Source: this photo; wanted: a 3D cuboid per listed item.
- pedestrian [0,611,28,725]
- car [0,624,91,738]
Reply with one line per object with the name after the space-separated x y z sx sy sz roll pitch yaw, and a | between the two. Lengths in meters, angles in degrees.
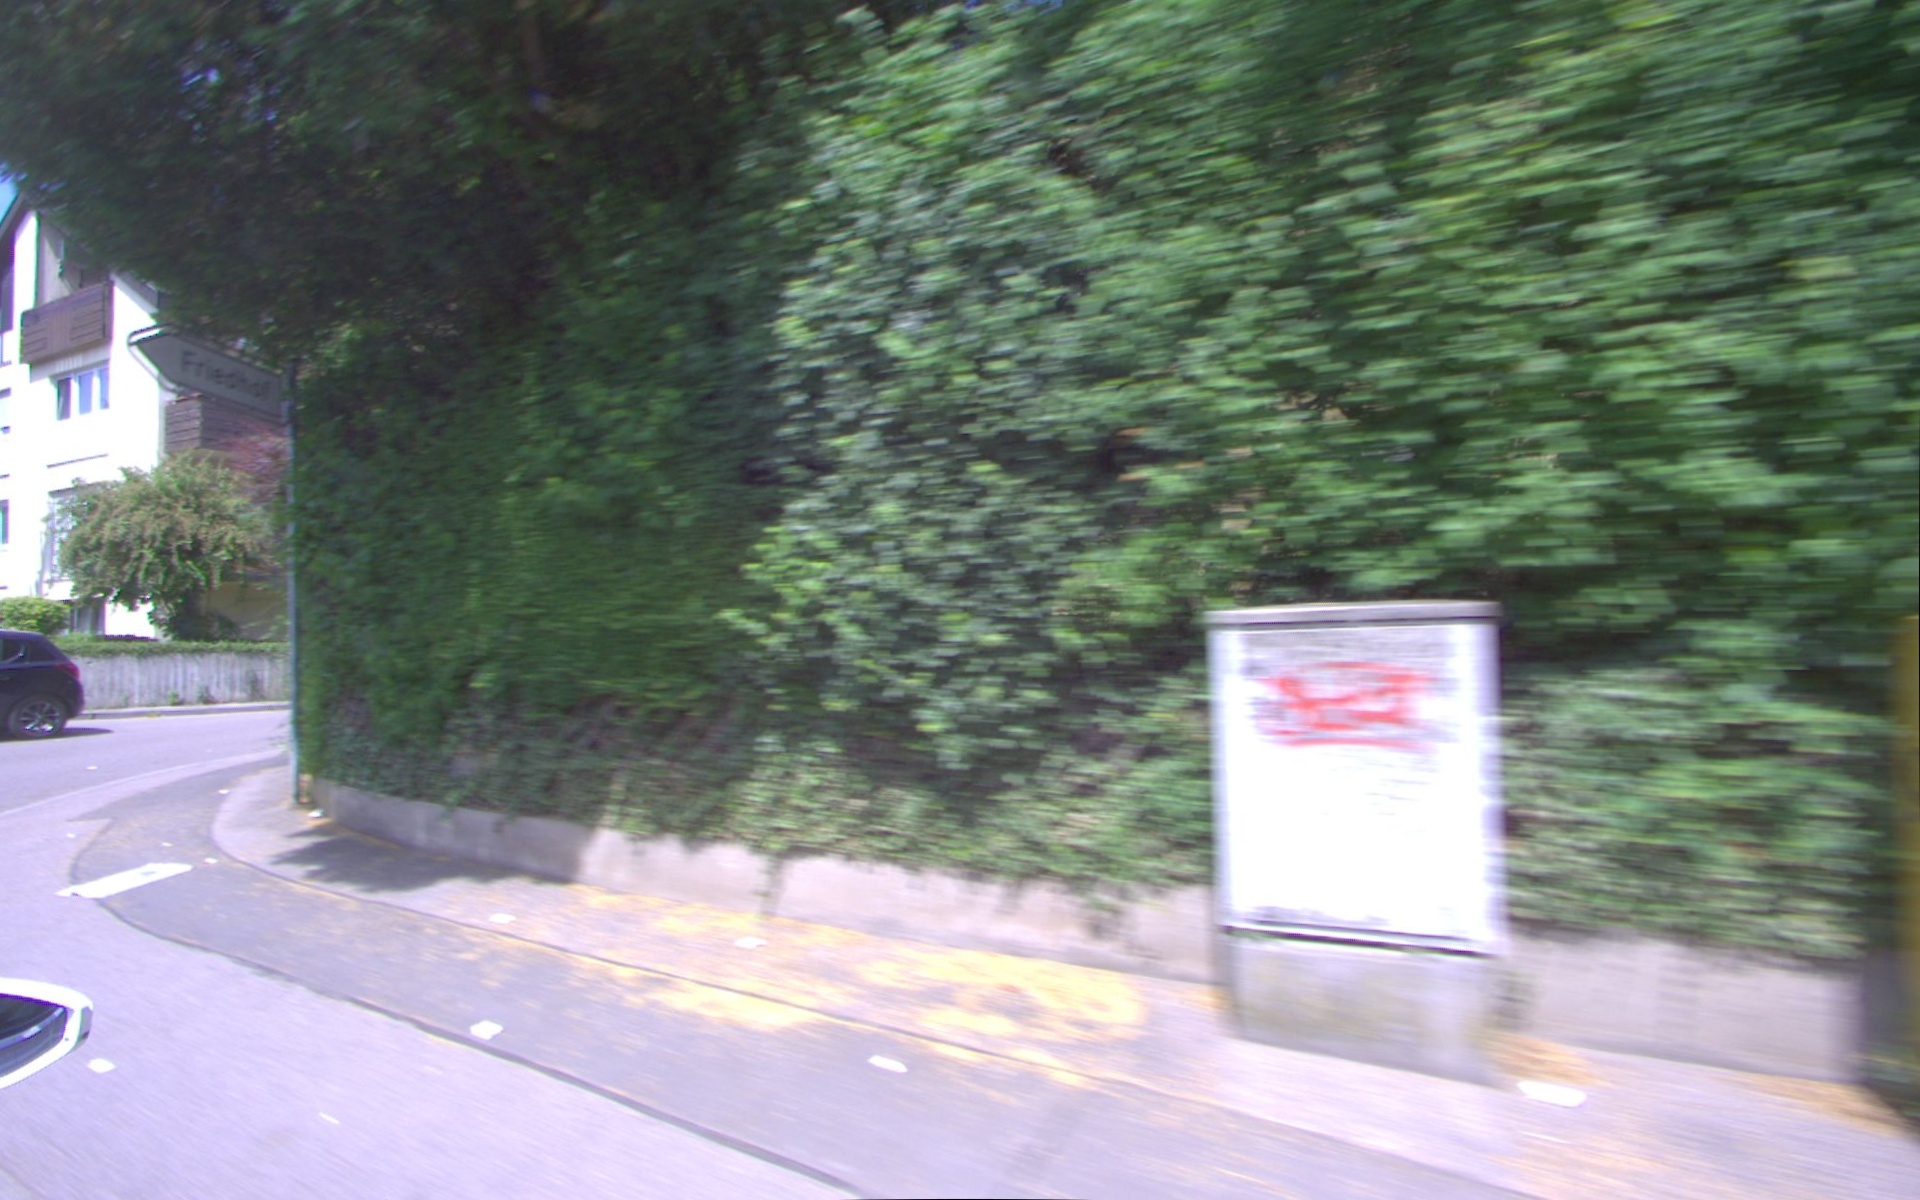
-14.472 1.013 14.997 0.691 1.693 0.565 2 -1 -40 | pedestrian
-13.614 1.027 12.454 1.634 1.476 3.930 -1 -2 30 | car
